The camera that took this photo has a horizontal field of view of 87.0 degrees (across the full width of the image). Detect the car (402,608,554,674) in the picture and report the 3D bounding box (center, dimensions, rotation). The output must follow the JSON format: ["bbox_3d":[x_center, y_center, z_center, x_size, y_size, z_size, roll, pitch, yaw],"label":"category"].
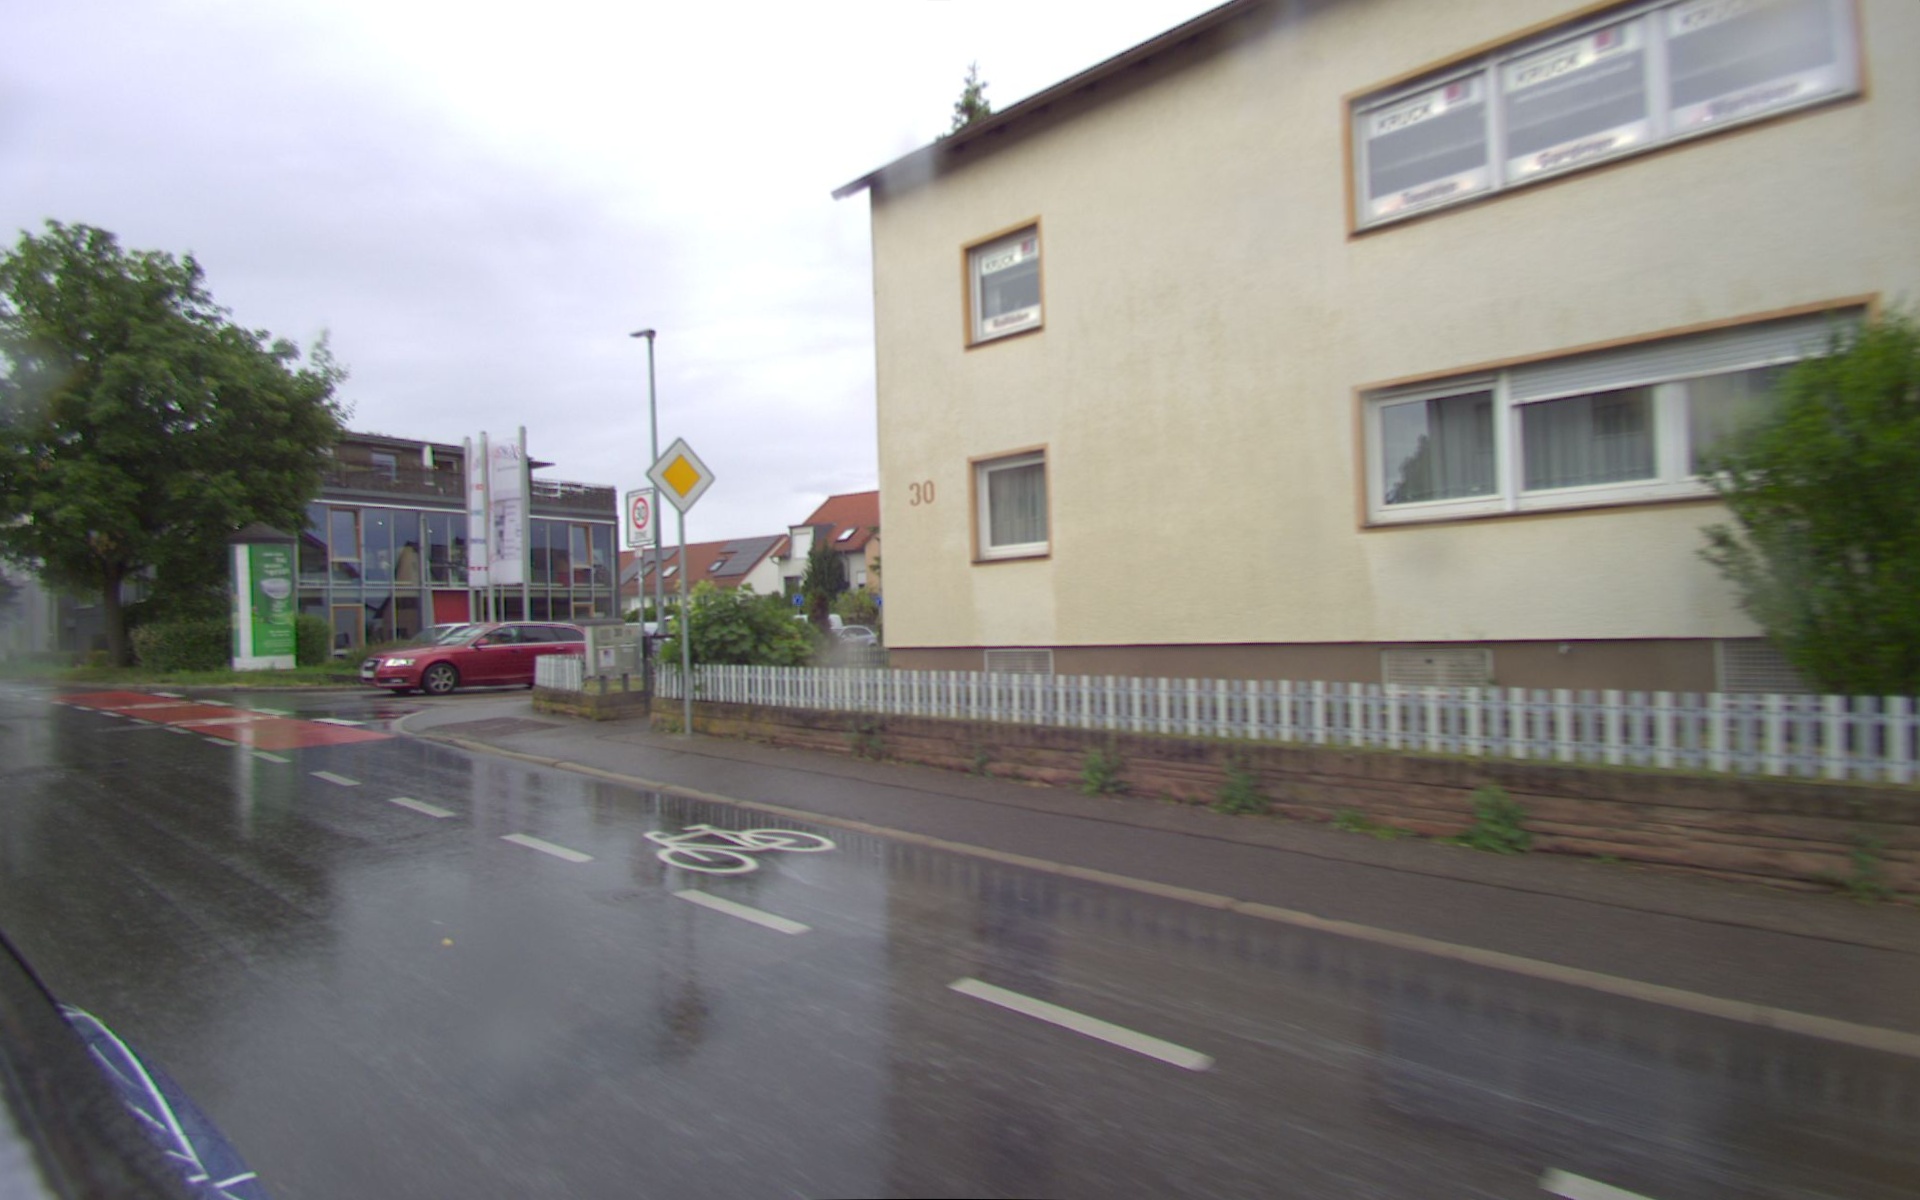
[{"bbox_3d":[-16.893,1.396,35.658,2.144,2.029,4.369,-4,-1,28],"label":"car"}]

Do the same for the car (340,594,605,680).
[{"bbox_3d":[-9.865,0.760,20.842,1.871,1.579,4.600,-2,-3,36],"label":"car"}]

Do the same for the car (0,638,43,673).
[{"bbox_3d":[-33.163,1.902,34.259,1.467,1.168,2.884,-2,-3,34],"label":"car"}]

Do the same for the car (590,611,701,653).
[{"bbox_3d":[-14.122,1.470,45.710,2.041,1.804,4.511,-2,-3,34],"label":"car"}]

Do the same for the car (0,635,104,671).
[{"bbox_3d":[-34.765,1.978,37.885,1.578,1.294,3.867,-2,-3,34],"label":"car"}]

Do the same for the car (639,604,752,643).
[{"bbox_3d":[-11.362,1.044,43.785,2.171,1.579,4.516,-2,-3,31],"label":"car"}]

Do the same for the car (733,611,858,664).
[{"bbox_3d":[-6.600,1.489,41.134,1.877,1.783,5.014,-5,-1,37],"label":"car"}]

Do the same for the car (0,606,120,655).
[{"bbox_3d":[-28.648,0.948,32.075,1.250,1.466,2.884,0,-2,34],"label":"car"}]
